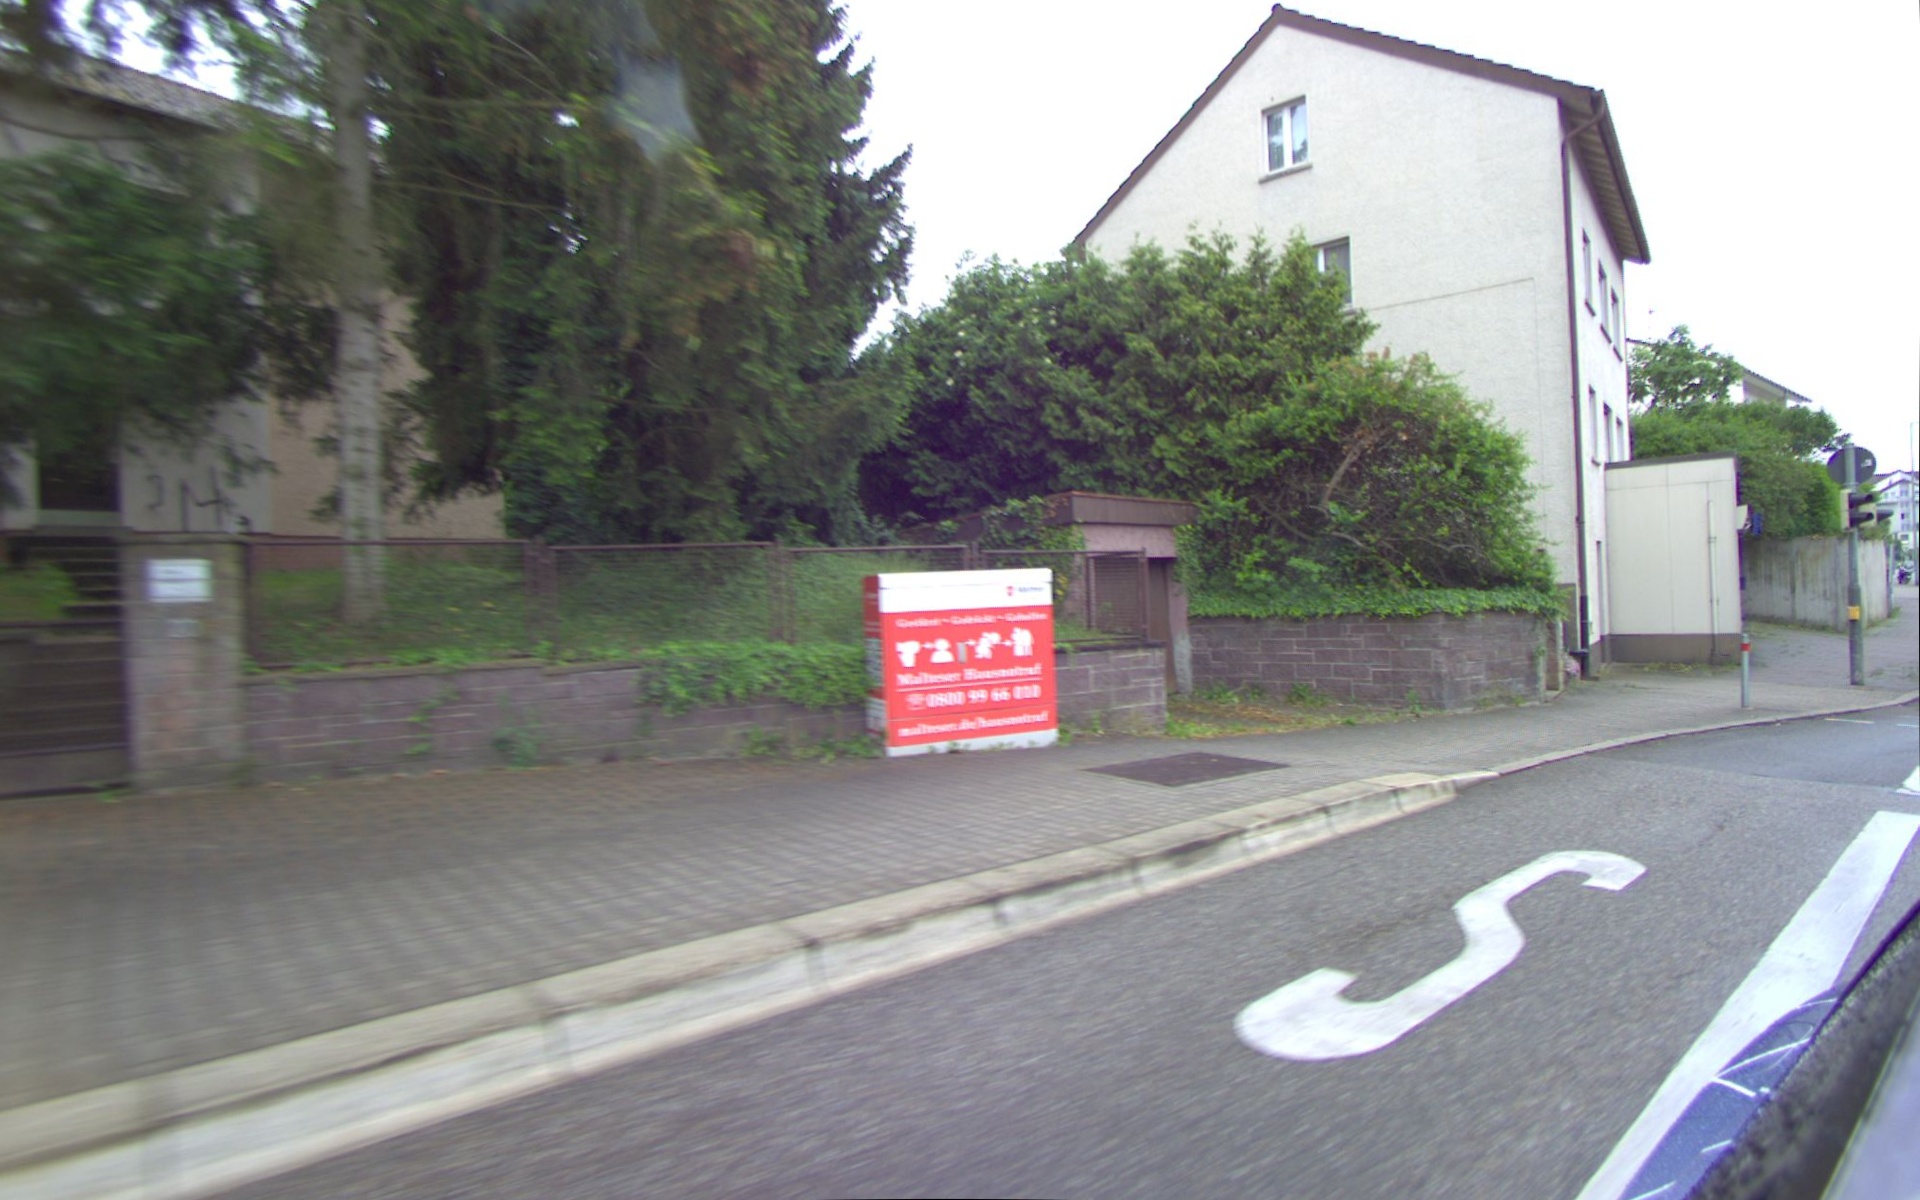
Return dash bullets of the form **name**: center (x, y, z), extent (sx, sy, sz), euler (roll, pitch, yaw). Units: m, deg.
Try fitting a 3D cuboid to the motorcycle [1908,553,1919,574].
- **motorcycle**: center (62.518, -2.382, 66.101), extent (0.691, 1.341, 2.446), euler (0, 2, 38)
